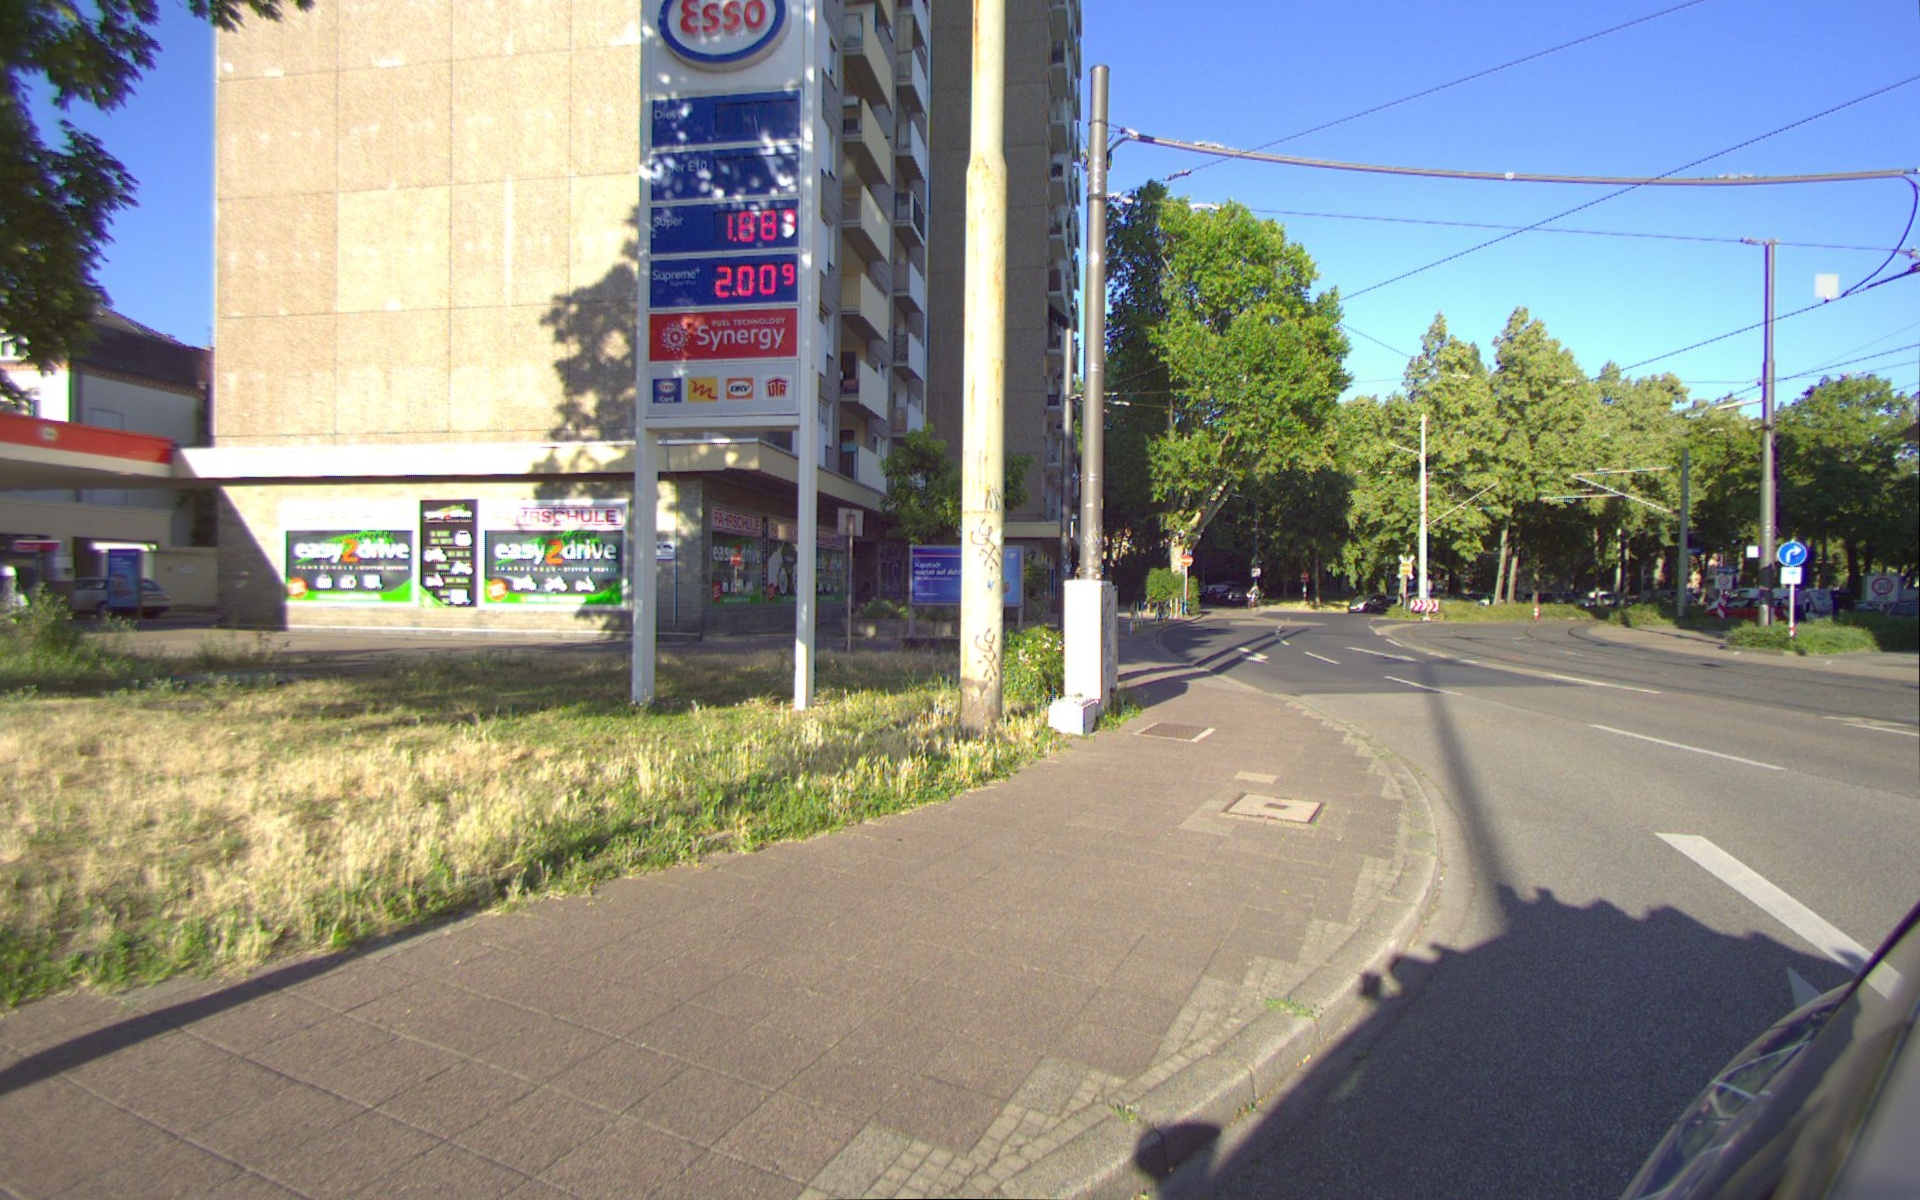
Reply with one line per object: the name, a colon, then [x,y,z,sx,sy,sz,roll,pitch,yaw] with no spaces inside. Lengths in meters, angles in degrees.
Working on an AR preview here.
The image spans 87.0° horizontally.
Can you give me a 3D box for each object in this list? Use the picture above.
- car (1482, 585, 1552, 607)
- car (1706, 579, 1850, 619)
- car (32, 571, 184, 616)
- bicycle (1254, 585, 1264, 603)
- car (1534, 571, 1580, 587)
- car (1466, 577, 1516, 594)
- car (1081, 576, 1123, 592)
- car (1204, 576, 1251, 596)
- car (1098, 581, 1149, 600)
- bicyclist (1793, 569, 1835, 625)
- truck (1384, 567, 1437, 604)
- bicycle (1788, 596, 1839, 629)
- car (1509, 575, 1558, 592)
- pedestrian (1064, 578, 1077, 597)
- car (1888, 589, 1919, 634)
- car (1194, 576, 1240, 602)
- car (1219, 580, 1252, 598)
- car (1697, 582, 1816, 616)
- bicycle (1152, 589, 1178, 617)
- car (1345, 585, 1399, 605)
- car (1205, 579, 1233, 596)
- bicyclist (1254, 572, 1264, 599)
car: [36.528,-0.289,66.431,1.705,1.370,3.695,0,1,-26]
car: [39.006,-0.094,48.426,1.958,1.810,5.070,0,1,-21]
car: [-28.848,-0.243,34.314,4.189,1.438,1.745,1,1,12]
bicycle: [20.420,-0.442,69.138,0.602,1.190,1.942,1,1,16]
car: [66.176,-2.326,112.219,1.846,1.772,4.008,0,1,-23]
car: [54.107,-1.486,103.191,1.958,1.772,4.453,0,1,-15]
car: [14.223,-1.596,101.764,3.924,1.527,1.886,1,1,0]
car: [24.546,-1.289,92.856,3.851,1.783,1.536,0,1,-1]
car: [13.672,-0.780,84.599,3.924,1.527,1.886,1,1,0]
bicyclist: [28.811,-0.087,34.142,1.188,1.864,0.730,1,0,-32]
truck: [35.096,-1.120,78.784,4.800,2.818,1.997,0,1,-42]
bicycle: [28.791,0.418,34.131,2.075,1.097,0.729,1,0,-32]
car: [61.904,-1.810,109.253,1.958,1.727,4.366,0,1,-22]
pedestrian: [12.000,-1.326,110.025,1.190,2.039,1.206,1,0,1]
car: [31.867,0.364,32.877,3.367,1.432,1.739,0,1,-33]
car: [24.219,-1.052,95.409,3.851,2.436,1.535,0,0,-1]
car: [22.436,-0.903,82.522,1.709,1.467,3.630,1,1,2]
car: [37.089,-0.081,47.243,1.829,1.526,4.009,0,1,-21]
bicycle: [8.708,0.120,42.937,0.603,1.149,2.263,1,1,23]
car: [30.751,-0.387,75.531,3.923,1.415,1.951,0,1,-35]
car: [22.568,-1.073,88.171,1.507,1.467,3.925,1,1,2]
bicyclist: [20.417,-0.993,69.102,0.599,1.785,1.055,1,0,16]
